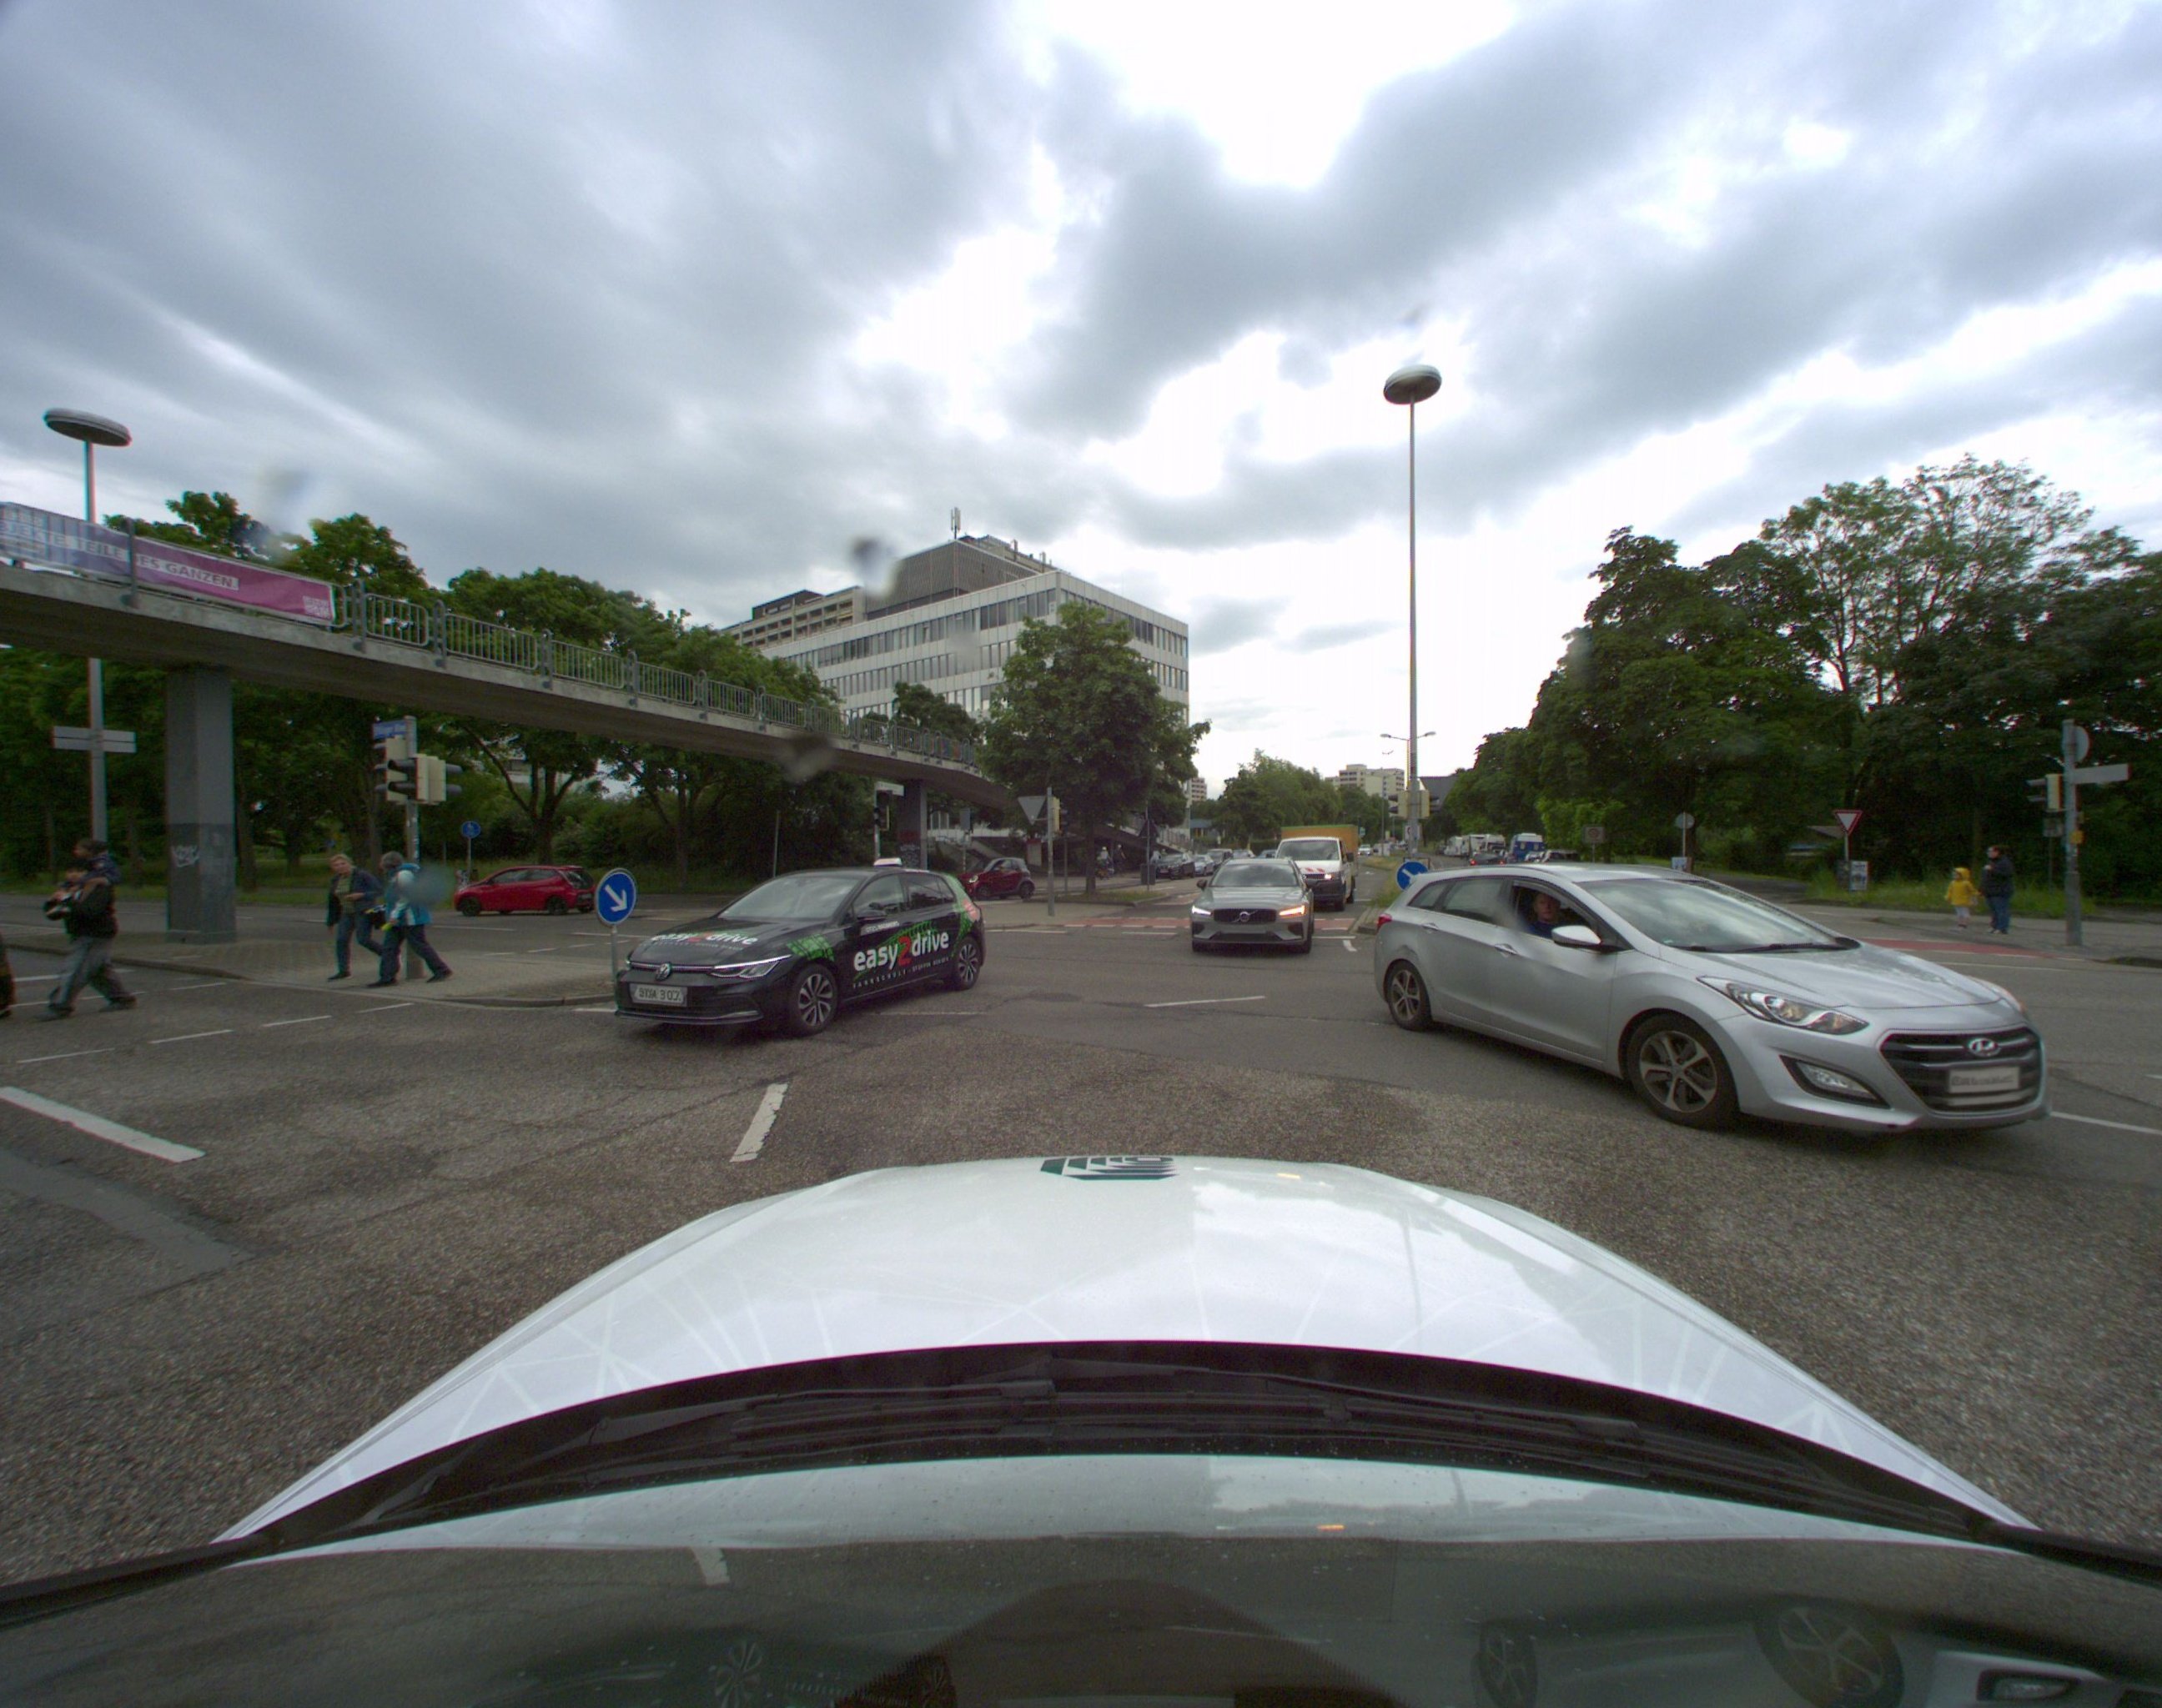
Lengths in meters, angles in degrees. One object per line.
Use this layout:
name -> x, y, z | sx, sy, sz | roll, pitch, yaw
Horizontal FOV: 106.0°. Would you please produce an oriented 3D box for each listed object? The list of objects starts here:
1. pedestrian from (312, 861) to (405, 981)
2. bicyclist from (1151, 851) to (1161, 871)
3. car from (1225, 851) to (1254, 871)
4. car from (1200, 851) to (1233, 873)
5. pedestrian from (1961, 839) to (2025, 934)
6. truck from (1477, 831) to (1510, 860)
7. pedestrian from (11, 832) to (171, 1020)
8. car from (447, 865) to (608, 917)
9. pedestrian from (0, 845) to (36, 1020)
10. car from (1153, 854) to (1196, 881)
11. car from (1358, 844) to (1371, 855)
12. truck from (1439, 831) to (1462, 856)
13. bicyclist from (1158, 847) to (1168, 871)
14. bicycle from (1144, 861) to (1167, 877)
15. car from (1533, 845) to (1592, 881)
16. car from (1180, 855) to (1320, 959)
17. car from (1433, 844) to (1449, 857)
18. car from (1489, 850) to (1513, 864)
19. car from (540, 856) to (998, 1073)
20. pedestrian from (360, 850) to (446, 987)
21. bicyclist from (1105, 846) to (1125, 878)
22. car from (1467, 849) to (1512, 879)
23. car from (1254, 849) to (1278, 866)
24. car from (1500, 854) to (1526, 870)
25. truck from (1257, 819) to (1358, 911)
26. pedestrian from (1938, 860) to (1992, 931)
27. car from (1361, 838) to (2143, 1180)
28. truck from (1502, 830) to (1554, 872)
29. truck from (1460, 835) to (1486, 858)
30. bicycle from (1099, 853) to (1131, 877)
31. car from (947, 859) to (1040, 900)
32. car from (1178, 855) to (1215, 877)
pedestrian -> -9.358, 0.846, 10.556 | 0.911, 1.511, 0.405 | 0, 0, 9
bicyclist -> 4.821, 0.450, 52.507 | 0.401, 1.180, 0.379 | 8, 4, 22
car -> 12.984, 0.513, 66.562 | 1.657, 1.552, 4.021 | 0, 0, 21
car -> 10.017, 0.572, 59.904 | 1.657, 1.552, 3.782 | 0, 1, 21
pedestrian -> 17.036, 0.596, 15.221 | 0.651, 1.750, 0.461 | 0, 0, 20
truck -> 41.519, -0.834, 82.025 | 1.978, 2.838, 5.757 | 0, 0, 17
pedestrian -> -10.026, 0.690, 8.275 | 0.632, 1.803, 0.805 | 0, 0, 12
car -> -15.837, 1.044, 23.419 | 3.515, 1.390, 1.514 | 0, 0, -5
pedestrian -> -10.766, 0.761, 7.955 | 0.615, 1.691, 0.406 | 0, 0, 7
car -> 5.744, 0.775, 49.887 | 1.657, 1.552, 3.912 | 0, 1, 21
car -> 41.441, -0.621, 118.920 | 1.630, 1.593, 4.022 | 0, 0, 22
truck -> 47.297, -1.319, 104.404 | 1.978, 3.009, 5.798 | -1, 0, 18
bicyclist -> 5.654, 0.358, 56.235 | 0.560, 1.644, 0.534 | -1, 0, 24
bicycle -> 4.840, 0.976, 52.539 | 0.755, 0.949, 1.965 | 0, 0, 28
car -> 23.193, 0.393, 39.360 | 1.769, 1.662, 4.021 | 0, 1, 20
car -> 3.102, 0.764, 14.112 | 1.882, 1.420, 4.758 | 0, 0, 18
car -> 52.748, -0.515, 119.443 | 1.638, 1.918, 3.936 | 0, 1, 17
car -> 35.771, 0.254, 69.479 | 1.313, 1.191, 3.671 | 0, 0, 19
car -> -2.628, 0.795, 8.147 | 1.755, 1.477, 4.413 | 0, 0, 21
pedestrian -> -8.231, 0.759, 9.899 | 0.682, 1.604, 0.490 | 0, 0, 16
bicyclist -> 2.072, 0.473, 49.570 | 0.848, 1.892, 1.134 | 0, 1, 23
car -> 21.233, 0.476, 42.457 | 1.782, 1.457, 4.566 | 0, 1, 23
car -> 17.934, 0.334, 78.750 | 1.657, 1.552, 4.021 | 0, 0, 21
car -> 31.983, 0.589, 60.359 | 1.313, 1.104, 2.818 | 0, 0, 19
truck -> 6.474, 0.231, 22.724 | 2.137, 2.199, 5.871 | 0, 1, 21
pedestrian -> 17.165, 0.792, 15.823 | 0.522, 1.342, 0.527 | 0, 0, 20
car -> 3.928, 0.680, 5.922 | 1.788, 1.519, 4.313 | -1, 0, -9
truck -> 29.986, -0.178, 54.845 | 2.156, 2.656, 6.278 | -1, 0, 21
truck -> 45.036, -0.839, 93.667 | 1.977, 2.572, 5.404 | -1, 0, 19
bicycle -> 2.087, 0.651, 49.566 | 0.848, 1.315, 3.248 | 0, 1, 23
car -> -3.156, 0.885, 29.509 | 2.988, 1.346, 1.545 | -1, 0, -40
car -> 7.837, 0.784, 55.002 | 1.657, 1.387, 3.916 | 0, 1, 21
